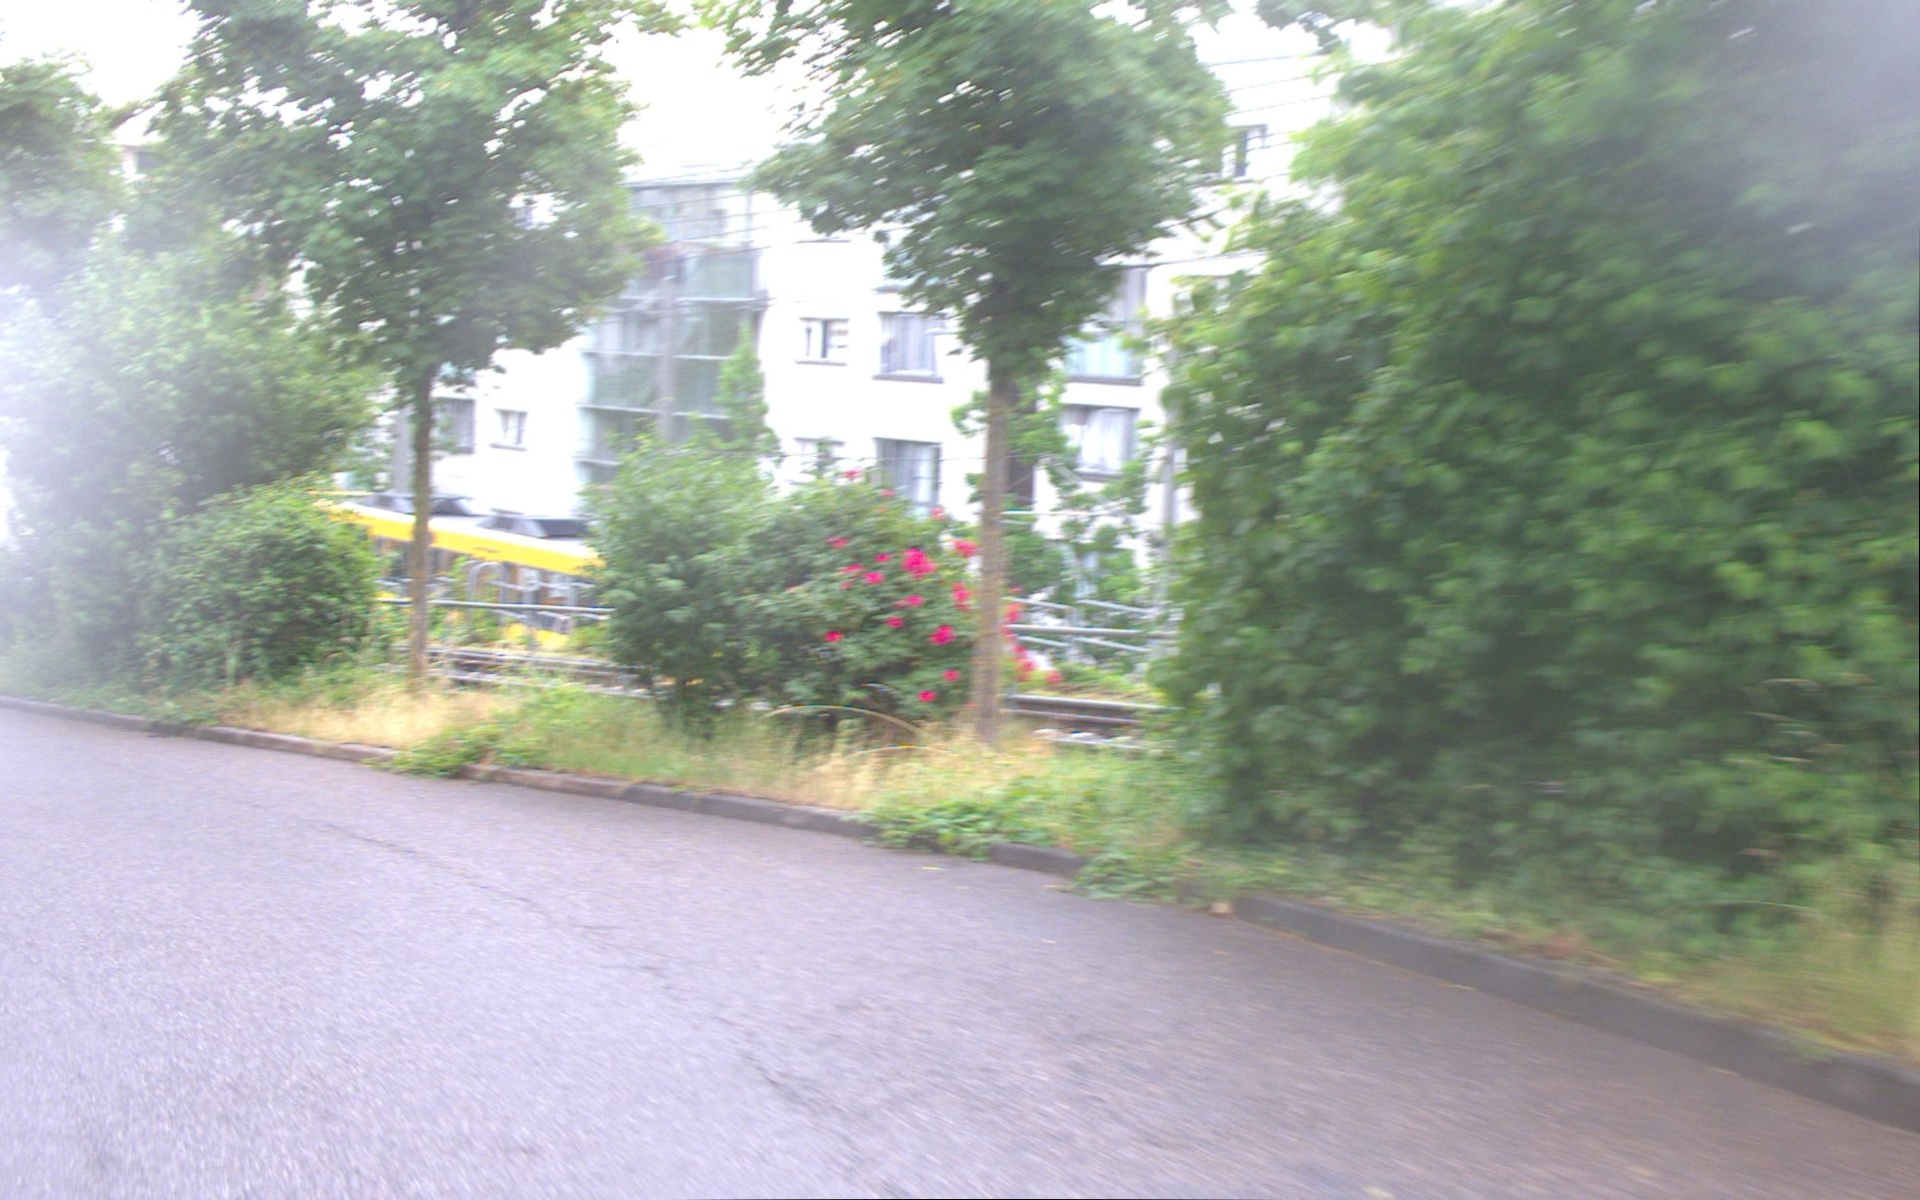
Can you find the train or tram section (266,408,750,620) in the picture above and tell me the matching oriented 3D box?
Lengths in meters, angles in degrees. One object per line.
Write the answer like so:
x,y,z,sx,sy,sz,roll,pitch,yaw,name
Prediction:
-10.202,-1.780,73.500,3.330,3.934,19.283,1,1,-29,train or tram section
